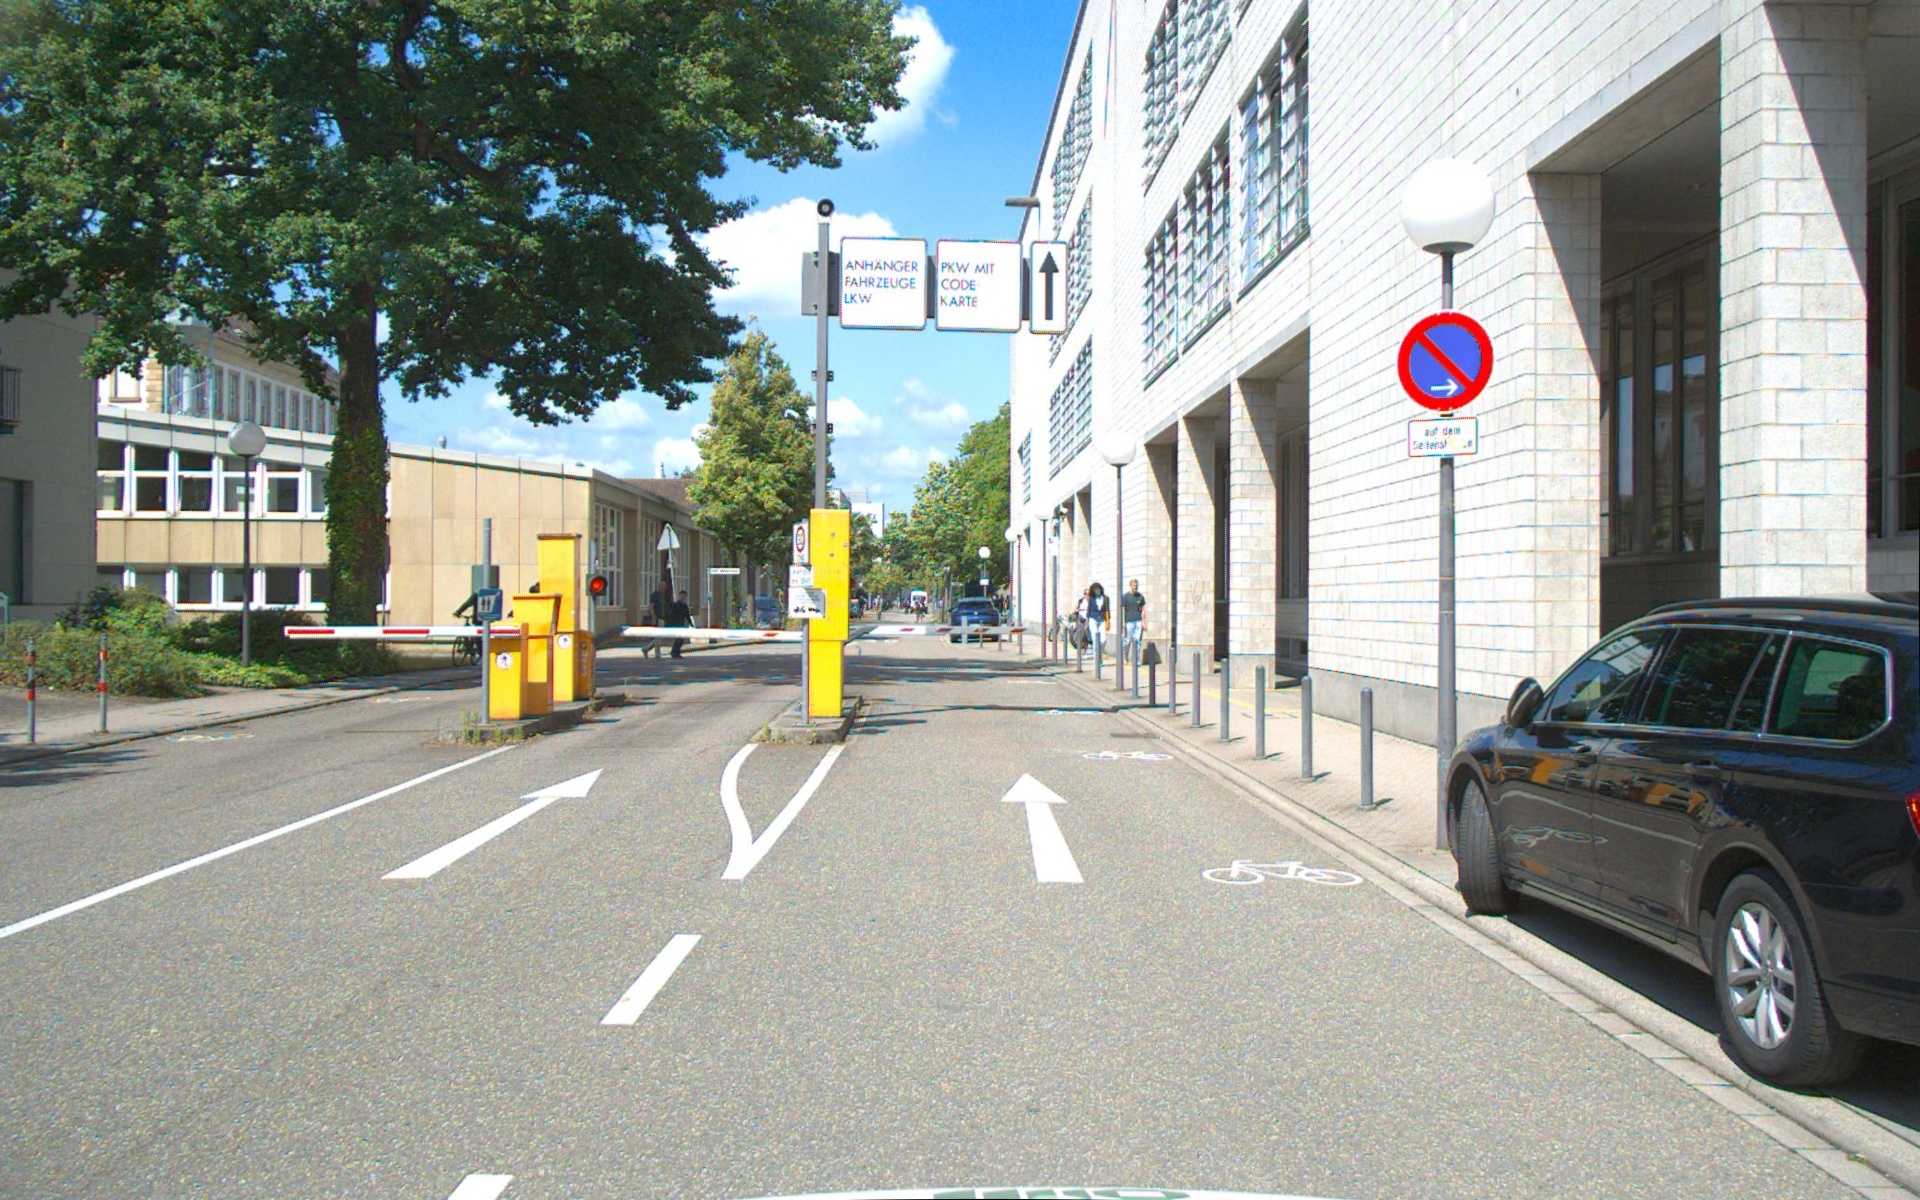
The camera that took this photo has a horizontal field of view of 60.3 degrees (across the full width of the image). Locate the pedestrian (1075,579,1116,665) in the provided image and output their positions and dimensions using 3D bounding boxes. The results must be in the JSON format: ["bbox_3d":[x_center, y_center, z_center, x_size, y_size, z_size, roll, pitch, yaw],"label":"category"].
[{"bbox_3d":[2.920,0.457,35.717,0.681,1.812,1.085,-2,0,-3],"label":"pedestrian"}]

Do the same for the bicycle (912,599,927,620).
[{"bbox_3d":[-2.744,0.669,112.022,0.967,1.339,2.962,0,-2,-2],"label":"bicycle"}]

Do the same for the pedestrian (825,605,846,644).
[{"bbox_3d":[-5.365,1.053,71.345,0.876,1.661,0.887,1,-1,-4],"label":"pedestrian"}]

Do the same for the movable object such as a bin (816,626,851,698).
[{"bbox_3d":[-1.647,0.811,21.636,0.407,0.921,0.353,1,0,2],"label":"movable object such as a bin"}]

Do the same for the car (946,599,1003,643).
[{"bbox_3d":[0.494,0.745,60.440,1.953,1.573,4.211,0,0,-1],"label":"car"}]

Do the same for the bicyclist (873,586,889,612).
[{"bbox_3d":[-5.957,-0.083,124.504,0.971,1.917,1.032,0,-2,-15],"label":"bicyclist"}]

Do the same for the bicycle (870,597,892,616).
[{"bbox_3d":[-5.973,0.500,124.526,0.971,1.339,2.950,0,-2,-16],"label":"bicycle"}]

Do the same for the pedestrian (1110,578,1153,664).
[{"bbox_3d":[3.697,0.443,35.699,0.751,1.812,0.910,-2,0,-3],"label":"pedestrian"}]

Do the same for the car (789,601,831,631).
[{"bbox_3d":[-8.117,0.863,89.611,1.953,1.573,4.211,0,0,-1],"label":"car"}]

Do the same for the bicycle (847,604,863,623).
[{"bbox_3d":[-7.888,1.036,124.216,0.969,1.339,2.957,0,-2,-9],"label":"bicycle"}]

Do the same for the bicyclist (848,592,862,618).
[{"bbox_3d":[-7.885,0.368,124.224,0.969,1.917,1.034,0,-2,-8],"label":"bicyclist"}]

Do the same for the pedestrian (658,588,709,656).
[{"bbox_3d":[-6.828,0.551,40.860,0.871,1.661,0.892,0,-1,39],"label":"pedestrian"}]

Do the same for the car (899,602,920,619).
[{"bbox_3d":[-5.257,1.103,172.910,1.952,1.751,4.000,0,-2,1],"label":"car"}]

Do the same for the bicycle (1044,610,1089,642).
[{"bbox_3d":[3.724,0.894,57.700,1.511,1.085,0.648,0,0,6],"label":"bicycle"}]

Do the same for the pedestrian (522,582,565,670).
[{"bbox_3d":[-8.802,0.540,34.956,0.691,1.841,1.001,0,0,-3],"label":"pedestrian"}]

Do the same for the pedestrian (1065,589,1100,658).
[{"bbox_3d":[3.042,0.576,41.090,0.726,1.661,0.887,-2,0,-3],"label":"pedestrian"}]

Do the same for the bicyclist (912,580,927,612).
[{"bbox_3d":[-2.755,-0.270,111.990,0.967,2.169,1.036,0,-2,-2],"label":"bicyclist"}]

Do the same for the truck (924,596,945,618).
[{"bbox_3d":[-2.541,0.671,164.733,1.954,2.049,3.997,0,-2,-3],"label":"truck"}]

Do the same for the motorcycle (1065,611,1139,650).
[{"bbox_3d":[4.120,0.883,48.060,2.079,1.040,0.660,-2,-2,-1],"label":"motorcycle"}]

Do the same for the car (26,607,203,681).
[{"bbox_3d":[-18.332,0.915,36.073,1.792,1.492,4.297,0,0,-3],"label":"car"}]

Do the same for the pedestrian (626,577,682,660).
[{"bbox_3d":[-7.411,0.452,40.052,0.871,1.959,1.001,0,-1,39],"label":"pedestrian"}]

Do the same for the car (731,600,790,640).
[{"bbox_3d":[-8.125,0.794,67.679,1.953,1.573,4.211,0,0,-1],"label":"car"}]

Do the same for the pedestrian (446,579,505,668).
[{"bbox_3d":[-10.175,0.485,34.766,1.035,1.847,0.806,0,0,-3],"label":"pedestrian"}]

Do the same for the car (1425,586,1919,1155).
[{"bbox_3d":[3.377,0.714,6.327,1.828,1.490,4.518,0,0,-2],"label":"car"}]
